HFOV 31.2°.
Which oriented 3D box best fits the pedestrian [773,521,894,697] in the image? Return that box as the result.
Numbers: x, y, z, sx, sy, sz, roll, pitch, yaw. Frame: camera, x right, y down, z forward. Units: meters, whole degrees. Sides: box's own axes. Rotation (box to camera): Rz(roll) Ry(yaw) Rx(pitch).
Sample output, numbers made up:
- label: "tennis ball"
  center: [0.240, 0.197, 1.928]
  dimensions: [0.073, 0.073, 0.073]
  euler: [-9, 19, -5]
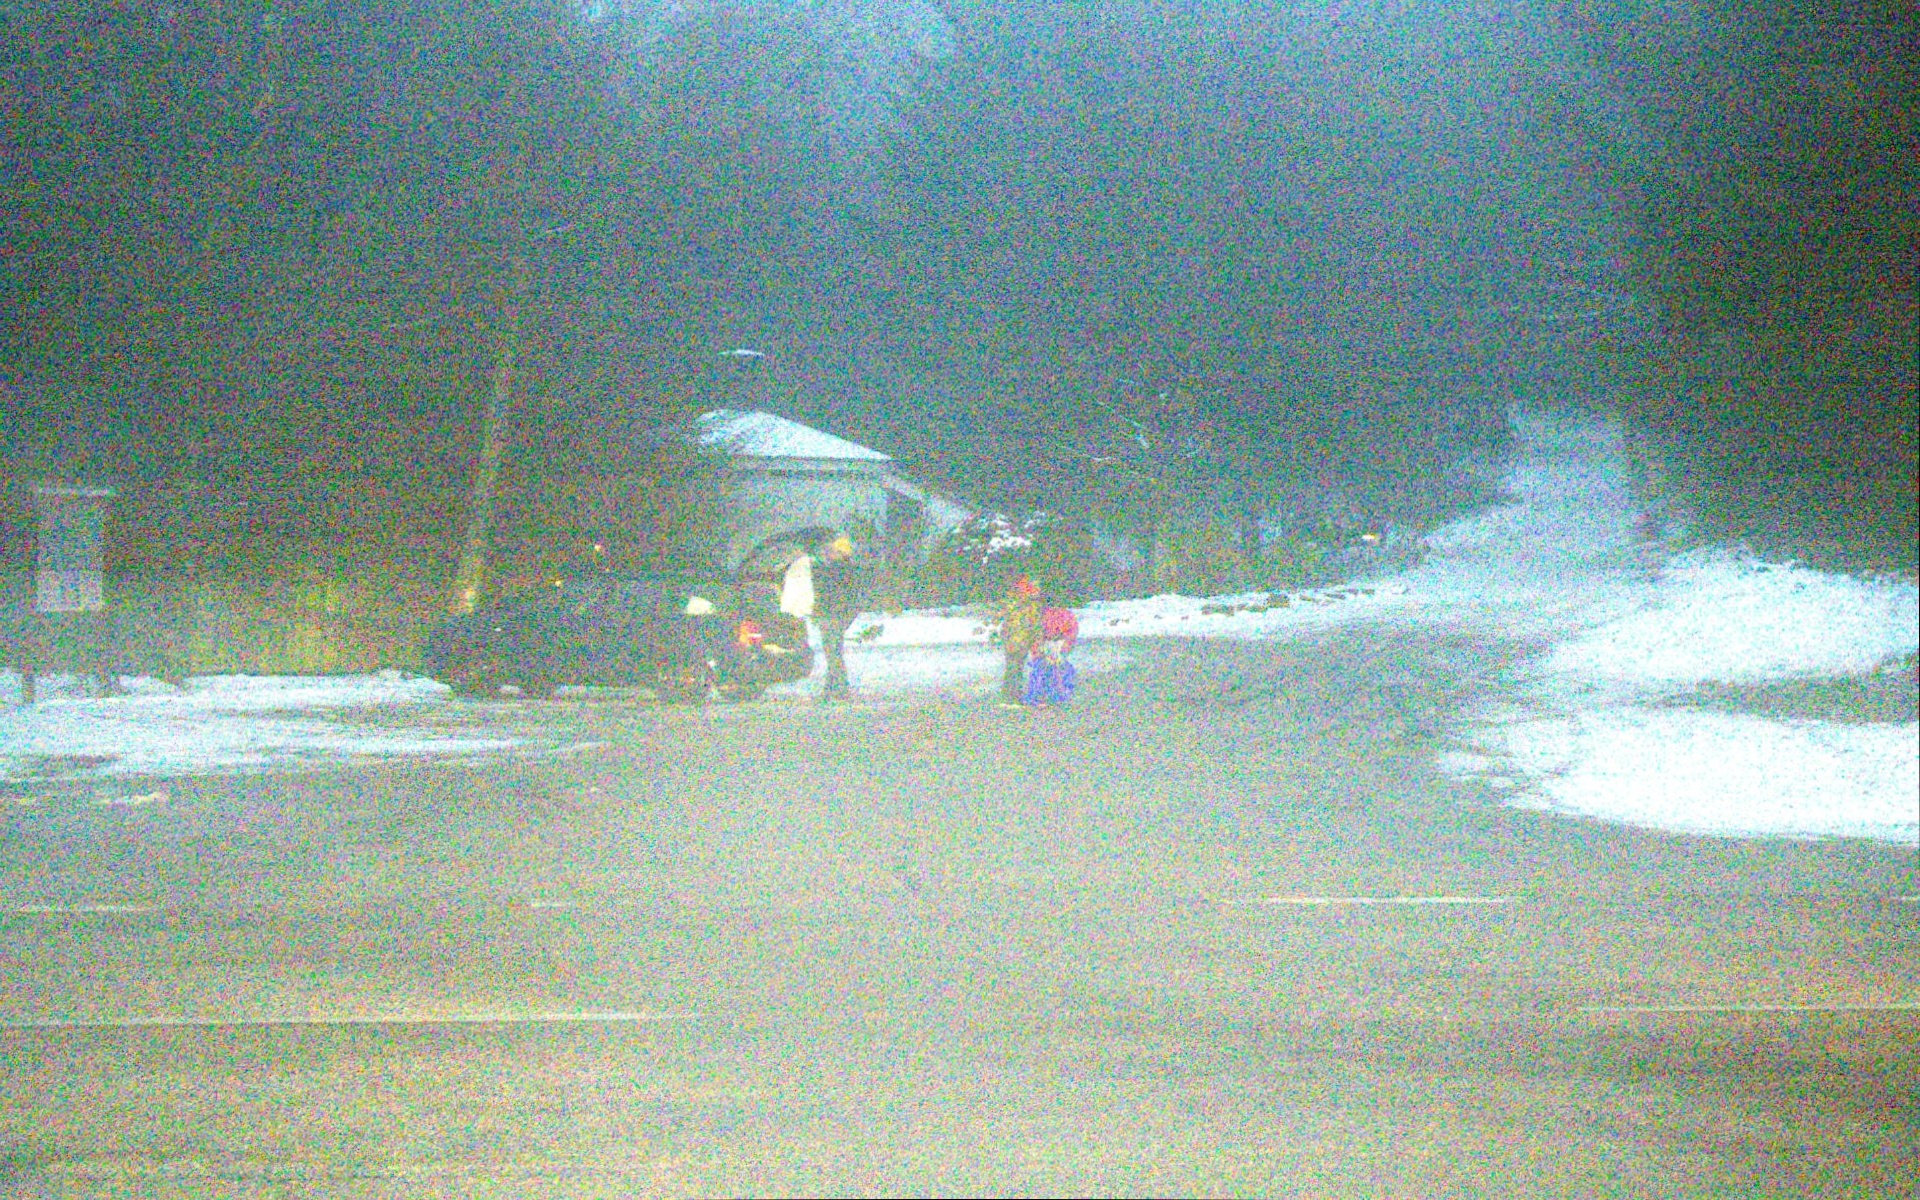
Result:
- label: "pedestrian"
  center: [-1.336, 0.098, 36.485]
  dimensions: [0.961, 1.822, 0.924]
  euler: [1, -1, 21]

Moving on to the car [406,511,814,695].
- label: "car"
  center: [-3.810, 0.029, 37.675]
  dimensions: [3.950, 1.875, 1.998]
  euler: [1, 0, 16]
